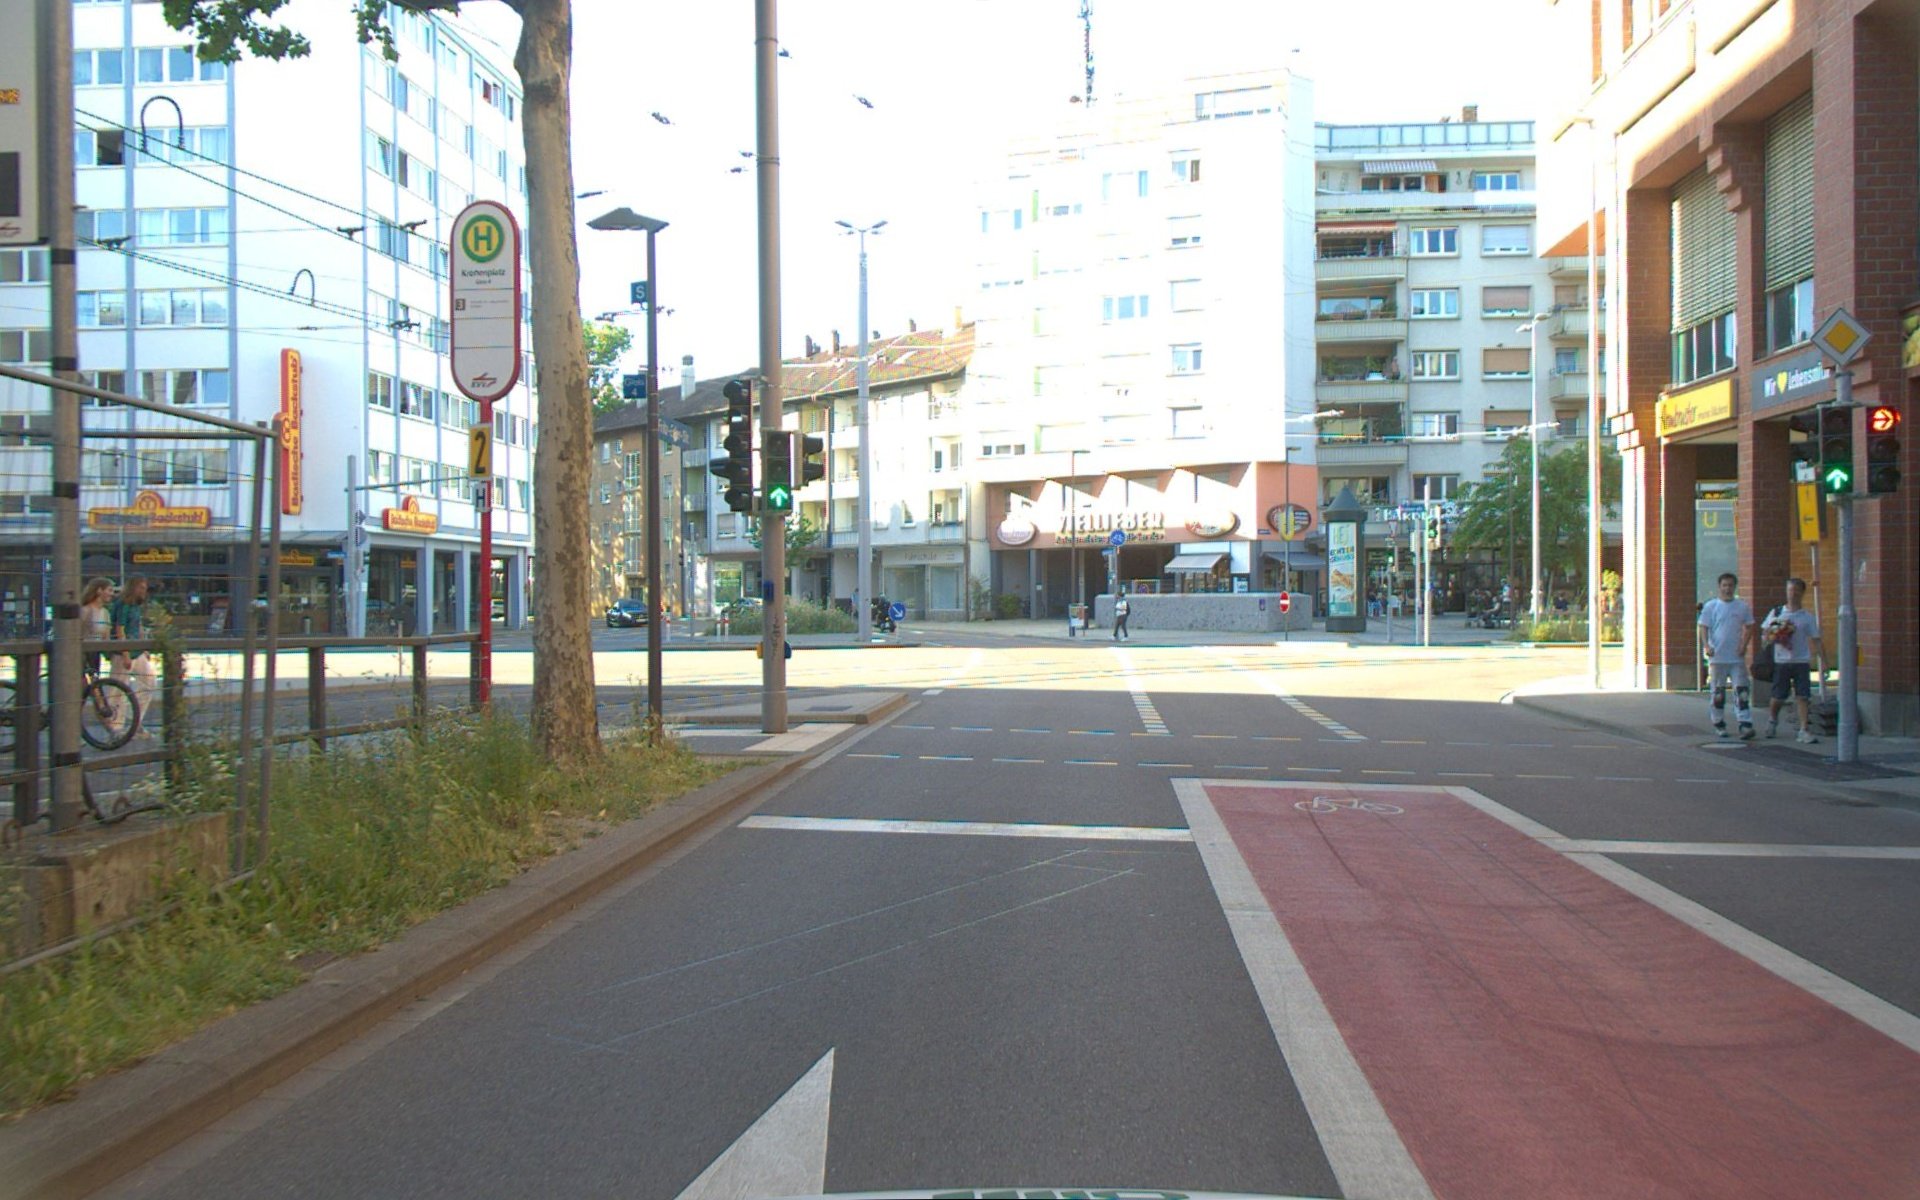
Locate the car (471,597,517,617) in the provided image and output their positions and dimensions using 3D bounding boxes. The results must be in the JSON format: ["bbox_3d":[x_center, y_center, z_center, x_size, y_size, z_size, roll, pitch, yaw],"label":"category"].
[{"bbox_3d":[-36.683,0.532,130.015,2.021,1.531,4.034,-1,0,-40],"label":"car"}]

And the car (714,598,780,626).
[{"bbox_3d":[-11.466,0.626,88.845,1.908,1.413,3.950,0,0,-35],"label":"car"}]

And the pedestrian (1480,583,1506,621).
[{"bbox_3d":[20.654,0.080,64.041,0.706,1.445,0.925,0,1,36],"label":"pedestrian"}]

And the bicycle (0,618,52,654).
[{"bbox_3d":[-28.797,1.102,50.999,0.583,1.071,2.005,0,0,-4],"label":"bicycle"}]

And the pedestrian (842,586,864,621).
[{"bbox_3d":[-5.900,0.213,91.253,0.727,1.886,0.934,-3,1,-41],"label":"pedestrian"}]

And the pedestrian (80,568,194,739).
[{"bbox_3d":[-8.697,0.556,17.511,0.761,1.765,0.849,0,0,1],"label":"pedestrian"}]

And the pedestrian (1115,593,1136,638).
[{"bbox_3d":[6.031,0.553,60.239,0.535,1.611,0.549,0,0,-38],"label":"pedestrian"}]

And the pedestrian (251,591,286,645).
[{"bbox_3d":[-22.893,0.595,54.780,0.788,1.754,0.777,0,-1,5],"label":"pedestrian"}]

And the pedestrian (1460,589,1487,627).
[{"bbox_3d":[20.152,0.291,64.900,0.708,1.471,0.924,0,1,41],"label":"pedestrian"}]

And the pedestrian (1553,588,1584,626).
[{"bbox_3d":[22.827,0.249,62.090,0.704,1.388,1.108,0,0,-4],"label":"pedestrian"}]

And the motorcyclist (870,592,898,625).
[{"bbox_3d":[-3.263,0.360,70.497,0.954,1.370,1.133,1,0,-15],"label":"motorcyclist"}]

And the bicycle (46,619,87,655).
[{"bbox_3d":[-27.781,1.139,51.450,0.584,1.071,1.999,0,0,-13],"label":"bicycle"}]

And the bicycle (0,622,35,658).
[{"bbox_3d":[-29.783,1.253,51.531,0.582,1.071,2.008,0,0,8],"label":"bicycle"}]

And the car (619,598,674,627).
[{"bbox_3d":[-15.957,0.637,84.439,1.795,1.410,4.597,0,0,1],"label":"car"}]

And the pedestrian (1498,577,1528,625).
[{"bbox_3d":[22.403,0.044,67.063,1.019,1.899,0.688,0,0,7],"label":"pedestrian"}]

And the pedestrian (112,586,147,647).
[{"bbox_3d":[-24.923,0.498,49.658,0.615,1.823,0.785,0,0,6],"label":"pedestrian"}]

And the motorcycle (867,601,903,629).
[{"bbox_3d":[-3.209,0.634,70.324,0.957,1.151,2.794,1,0,-14],"label":"motorcycle"}]

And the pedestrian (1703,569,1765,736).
[{"bbox_3d":[8.630,0.576,18.447,0.466,1.824,0.541,0,0,4],"label":"pedestrian"}]

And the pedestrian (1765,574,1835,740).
[{"bbox_3d":[9.092,0.599,17.903,0.622,1.755,0.628,0,0,32],"label":"pedestrian"}]

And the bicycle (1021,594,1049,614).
[{"bbox_3d":[3.928,0.226,86.983,0.491,1.057,1.615,0,0,-40],"label":"bicycle"}]

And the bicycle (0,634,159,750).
[{"bbox_3d":[-8.818,0.894,16.168,1.790,1.097,0.481,0,0,5],"label":"bicycle"}]

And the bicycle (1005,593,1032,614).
[{"bbox_3d":[3.065,0.189,86.626,0.491,1.057,1.615,0,0,-40],"label":"bicycle"}]

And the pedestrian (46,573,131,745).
[{"bbox_3d":[-8.788,0.586,16.687,0.554,1.709,0.531,0,0,6],"label":"pedestrian"}]
